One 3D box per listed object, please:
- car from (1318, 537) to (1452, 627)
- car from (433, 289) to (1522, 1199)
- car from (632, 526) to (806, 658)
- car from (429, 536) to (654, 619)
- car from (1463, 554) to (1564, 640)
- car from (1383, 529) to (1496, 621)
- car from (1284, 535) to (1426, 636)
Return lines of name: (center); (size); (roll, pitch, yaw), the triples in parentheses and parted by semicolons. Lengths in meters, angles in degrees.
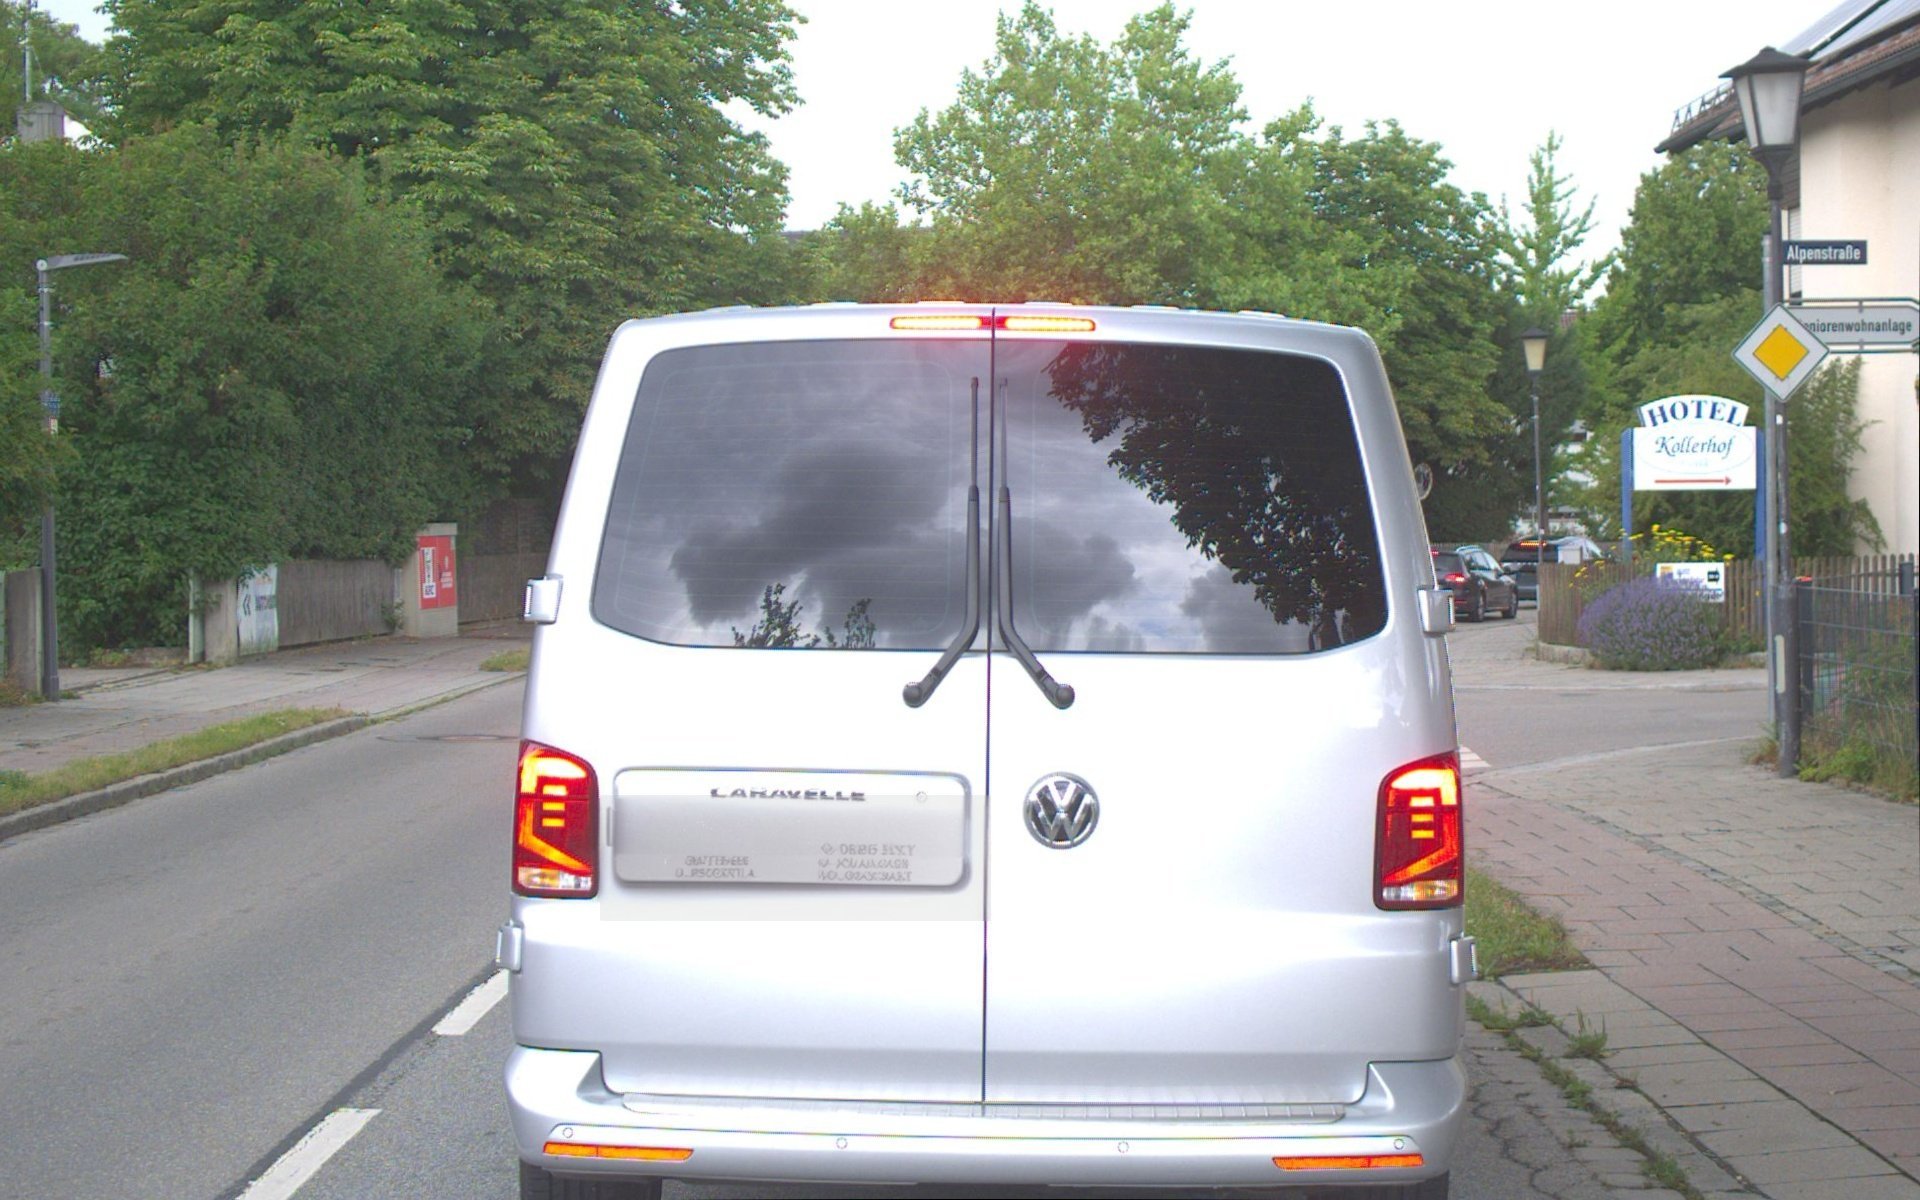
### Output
car: (7.492, -0.343, 60.382); (1.882, 1.530, 3.918); (0, 1, 14)
car: (0.052, 0.399, 7.930); (1.881, 1.934, 3.921); (0, 1, 1)
car: (-3.025, -0.133, 43.946); (1.930, 1.569, 4.312); (1, 1, 0)
car: (-7.589, -0.419, 62.309); (3.986, 1.481, 2.001); (0, 1, -8)
car: (12.239, -0.096, 75.869); (1.882, 1.819, 3.918); (0, 1, 14)
car: (9.422, -0.518, 67.356); (1.882, 1.742, 4.078); (0, 1, 12)
car: (6.294, -0.258, 54.479); (1.882, 1.530, 3.919); (0, 1, 12)
